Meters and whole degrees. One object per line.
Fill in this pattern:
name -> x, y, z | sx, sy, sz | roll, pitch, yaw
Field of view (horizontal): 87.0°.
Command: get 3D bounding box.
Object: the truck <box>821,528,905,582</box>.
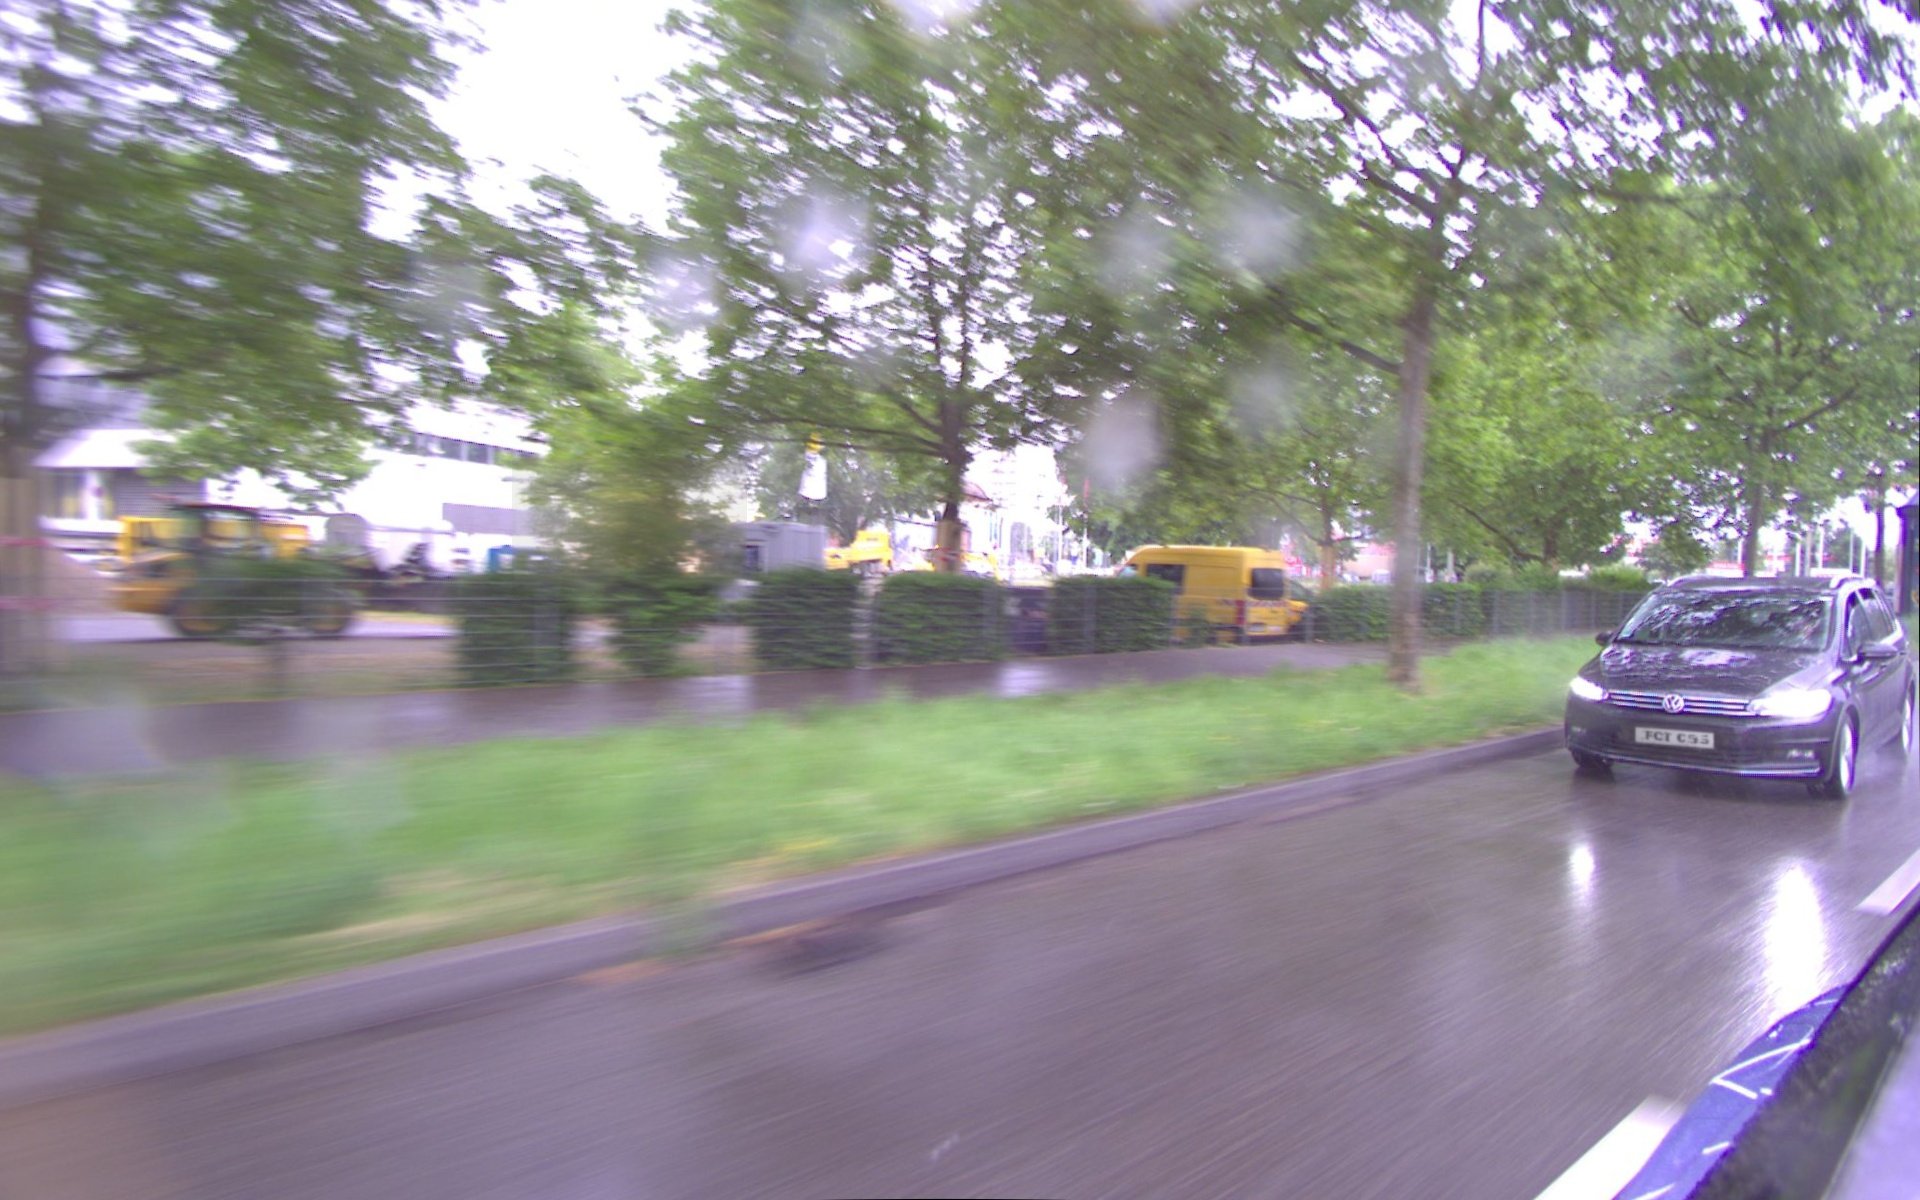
truck -> -6.441, -3.060, 69.185 | 2.461, 3.386, 9.427 | 0, 2, 16

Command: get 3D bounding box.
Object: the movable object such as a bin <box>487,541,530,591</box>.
movable object such as a bin -> -22.322, -1.686, 50.035 | 1.433, 2.384, 1.400 | 2, 2, 28

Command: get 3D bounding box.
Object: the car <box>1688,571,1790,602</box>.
car -> 46.768, -0.832, 60.848 | 4.395, 1.693, 1.861 | 2, 3, 13

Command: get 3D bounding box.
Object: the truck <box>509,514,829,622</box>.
truck -> -9.004, -0.952, 31.447 | 9.368, 3.069, 3.067 | 0, 2, 16

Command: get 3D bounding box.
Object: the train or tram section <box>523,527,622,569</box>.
train or tram section -> -34.888, -4.674, 91.079 | 8.403, 3.563, 2.392 | 0, 2, 14

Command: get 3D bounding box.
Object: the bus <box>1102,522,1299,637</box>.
bus -> 6.095, -0.560, 26.187 | 1.963, 2.680, 4.806 | -1, 2, -37

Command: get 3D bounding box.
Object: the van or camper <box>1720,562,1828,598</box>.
van or camper -> 50.711, -1.277, 63.147 | 4.835, 2.113, 1.861 | 2, 2, 13

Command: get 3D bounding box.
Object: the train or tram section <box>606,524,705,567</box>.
train or tram section -> -26.754, -4.729, 89.075 | 8.245, 3.563, 2.392 | 0, 2, 14

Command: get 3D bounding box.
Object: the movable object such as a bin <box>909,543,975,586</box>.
movable object such as a bin -> -1.012, -2.054, 58.088 | 3.252, 2.384, 1.994 | 2, 2, 29

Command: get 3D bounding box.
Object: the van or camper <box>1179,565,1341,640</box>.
van or camper -> 8.272, 0.024, 28.152 | 1.771, 1.930, 3.992 | -1, 1, -42

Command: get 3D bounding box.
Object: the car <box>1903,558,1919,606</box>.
car -> 42.737, -0.719, 43.274 | 1.910, 2.081, 4.721 | 2, 3, 22

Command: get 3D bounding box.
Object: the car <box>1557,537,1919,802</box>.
car -> 6.961, 0.422, 8.719 | 4.116, 1.748, 1.860 | -1, 1, -40

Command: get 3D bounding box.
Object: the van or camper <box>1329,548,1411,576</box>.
van or camper -> 49.574, -4.596, 122.692 | 8.854, 3.196, 2.973 | 0, 2, 16
